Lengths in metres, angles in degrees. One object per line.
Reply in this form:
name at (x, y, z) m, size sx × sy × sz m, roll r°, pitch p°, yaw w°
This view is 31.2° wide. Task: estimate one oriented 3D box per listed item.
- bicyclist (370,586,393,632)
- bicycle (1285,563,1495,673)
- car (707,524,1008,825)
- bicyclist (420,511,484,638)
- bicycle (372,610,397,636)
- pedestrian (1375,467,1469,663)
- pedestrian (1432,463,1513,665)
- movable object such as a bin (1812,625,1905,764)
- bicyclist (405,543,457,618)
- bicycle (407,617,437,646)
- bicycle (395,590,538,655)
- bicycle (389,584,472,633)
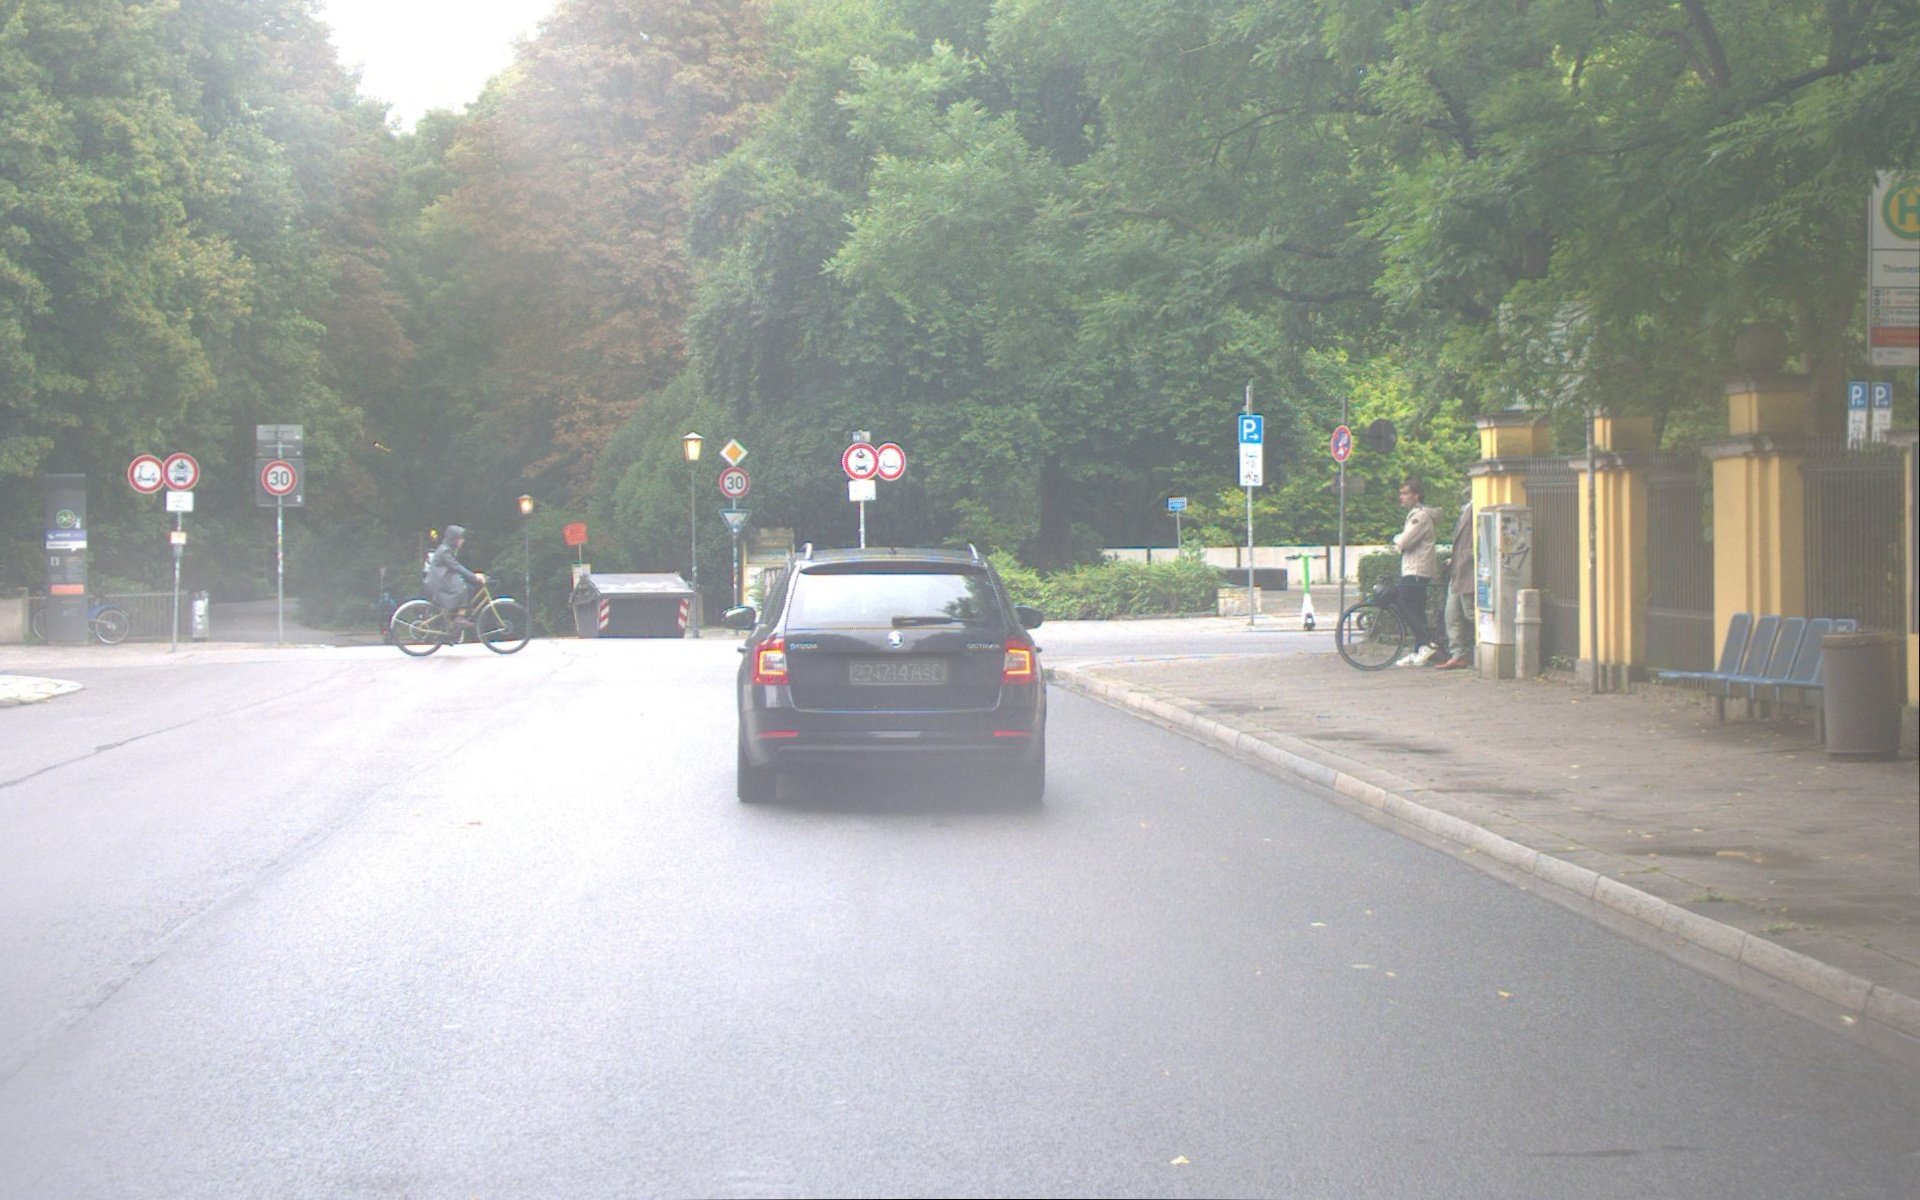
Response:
bicyclist at (-19.090, 0.289, 113.486) m, size 0.680 × 1.499 × 0.901 m, roll -1°, pitch 1°, yaw -13°
bicycle at (4.209, 0.168, 33.692) m, size 1.905 × 0.946 × 0.582 m, roll -4°, pitch 1°, yaw -11°
car at (-0.598, 0.365, 20.351) m, size 1.577 × 1.578 × 4.044 m, roll -1°, pitch 1°, yaw -1°
bicyclist at (-6.409, -0.322, 43.373) m, size 0.750 × 1.579 × 0.656 m, roll -1°, pitch 0°, yaw -10°
bicycle at (-18.948, 0.749, 113.164) m, size 0.679 × 0.827 × 2.110 m, roll -1°, pitch 0°, yaw -14°
pedestrian at (4.613, -0.346, 34.353) m, size 0.674 × 1.912 × 0.641 m, roll -3°, pitch 0°, yaw -11°
pedestrian at (4.955, -0.345, 33.248) m, size 0.541 × 1.912 × 0.492 m, roll -3°, pitch 0°, yaw -11°
movable object such as a bin at (5.233, 0.547, 20.032) m, size 0.396 × 0.778 × 0.465 m, roll -1°, pitch 1°, yaw -2°
bicyclist at (-9.114, -0.343, 59.245) m, size 0.681 × 1.278 × 0.599 m, roll -1°, pitch 1°, yaw 12°
bicycle at (-15.804, 0.930, 100.983) m, size 0.679 × 0.827 × 2.110 m, roll -1°, pitch 0°, yaw -14°
bicycle at (-6.229, 0.280, 43.373) m, size 1.763 × 0.794 × 0.571 m, roll 0°, pitch 0°, yaw -10°
bicycle at (-9.106, 0.140, 59.225) m, size 0.680 × 0.827 × 2.109 m, roll -1°, pitch 0°, yaw 13°
